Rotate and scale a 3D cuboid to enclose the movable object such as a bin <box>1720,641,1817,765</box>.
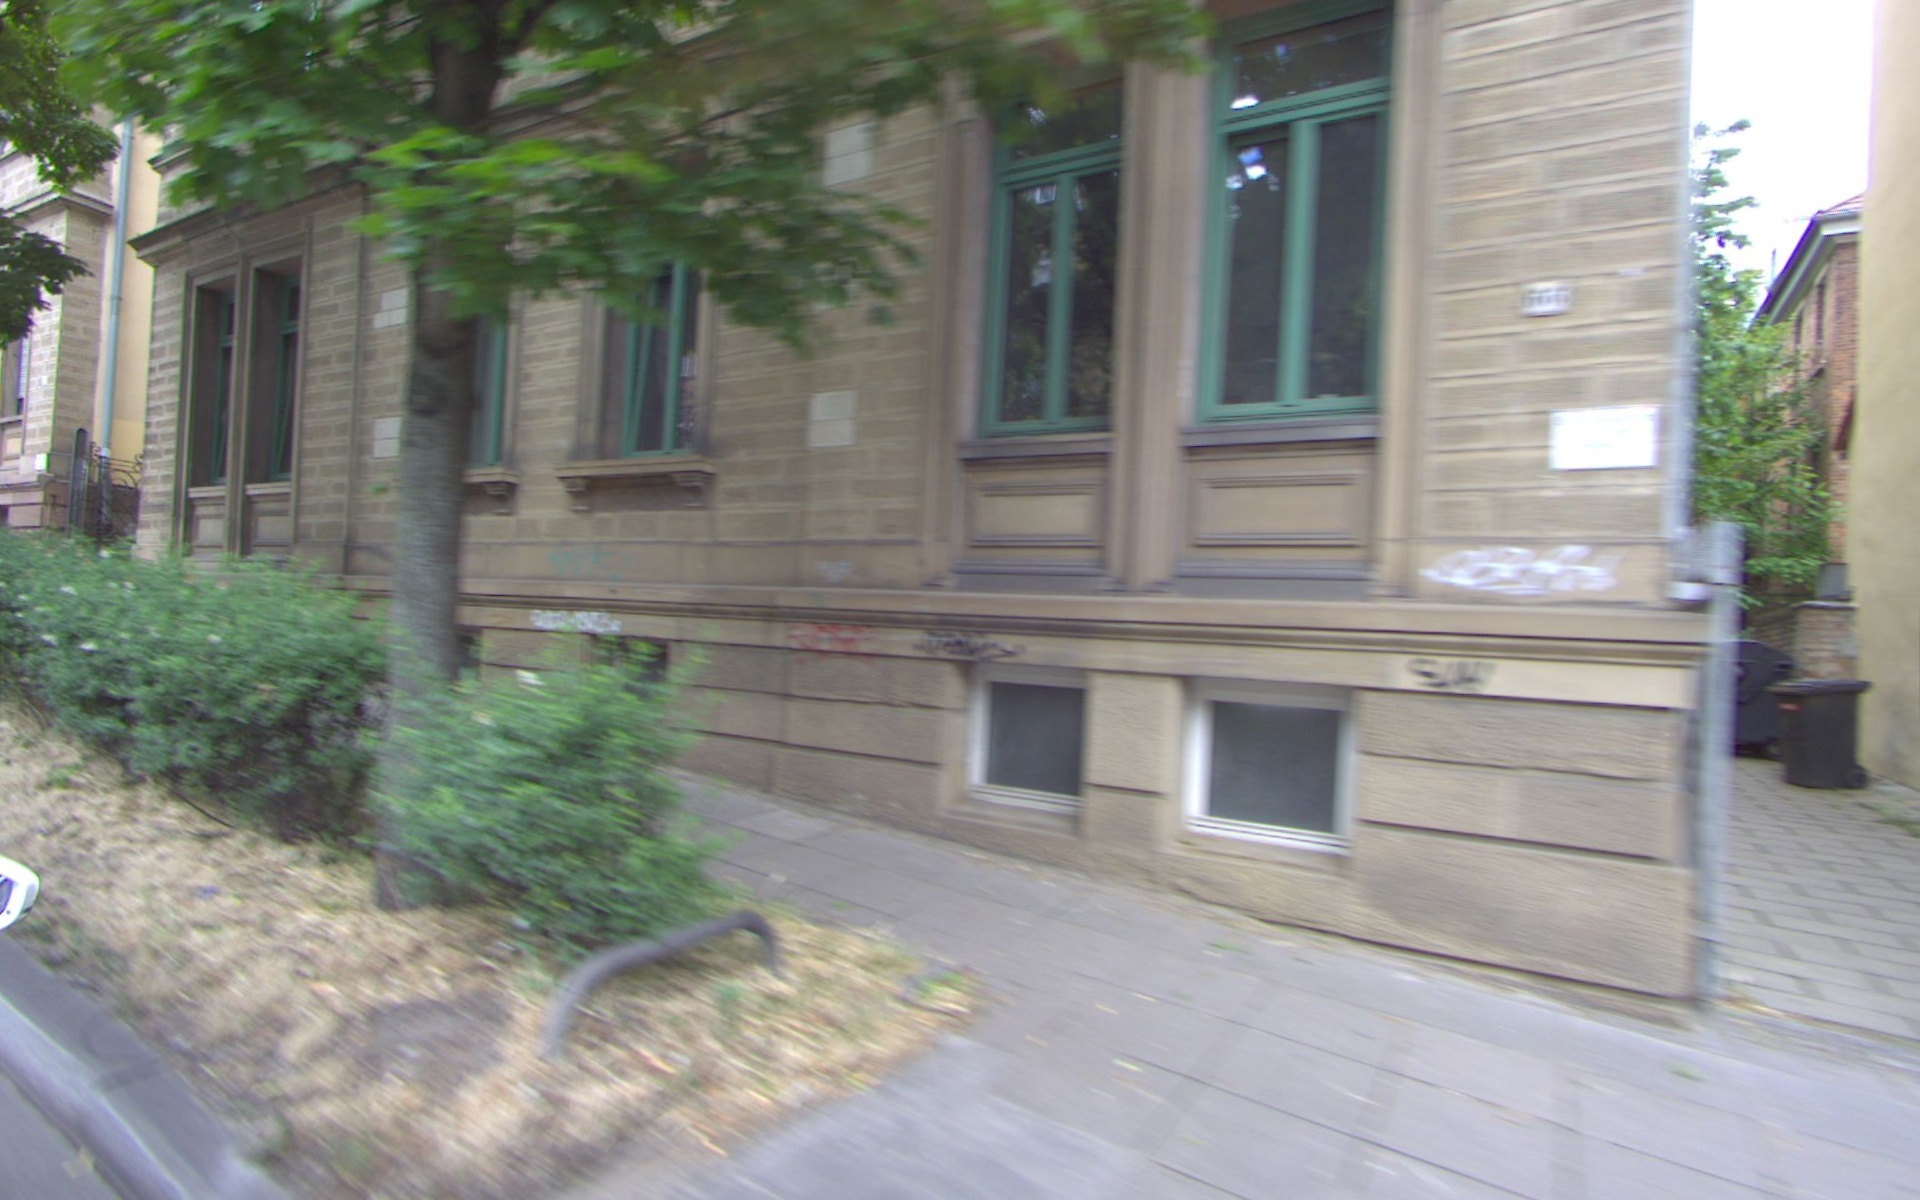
[{"bbox_3d":[10.031,1.252,12.521,0.757,1.413,0.853,3,2,31],"label":"movable object such as a bin"}]

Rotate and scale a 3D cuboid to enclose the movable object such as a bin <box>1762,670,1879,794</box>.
[{"bbox_3d":[8.749,1.324,10.252,0.688,1.140,0.544,3,2,19],"label":"movable object such as a bin"}]
